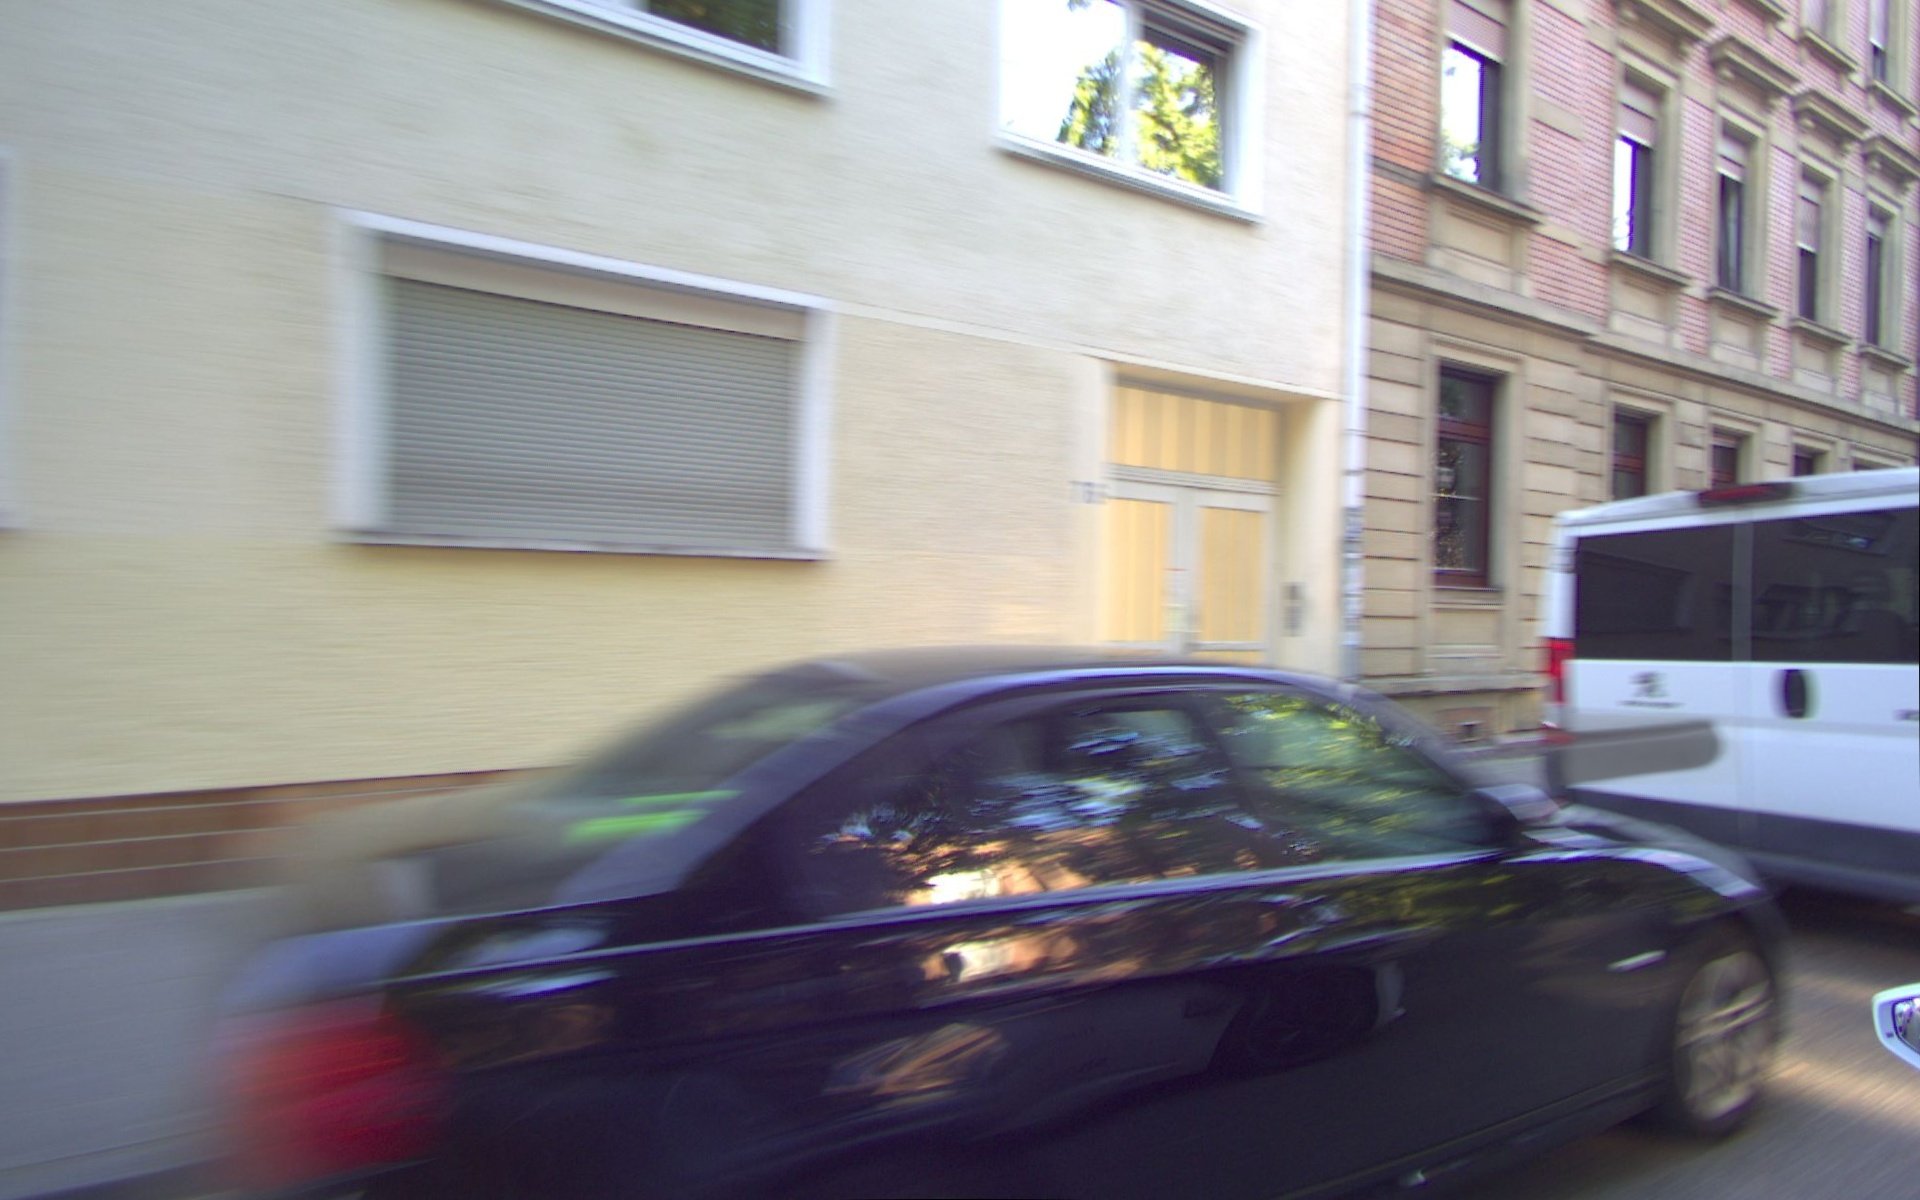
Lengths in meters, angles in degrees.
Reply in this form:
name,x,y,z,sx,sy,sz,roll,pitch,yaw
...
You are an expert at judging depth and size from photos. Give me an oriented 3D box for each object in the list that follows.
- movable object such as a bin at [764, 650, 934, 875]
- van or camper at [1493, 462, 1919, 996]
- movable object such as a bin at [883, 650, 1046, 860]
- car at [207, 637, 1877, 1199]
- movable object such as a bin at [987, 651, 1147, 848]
name,x,y,z,sx,sy,sz,roll,pitch,yaw
movable object such as a bin,-0.639,0.856,5.624,0.666,1.102,0.833,2,-1,-26
van or camper,5.792,0.595,6.009,5.091,2.176,2.168,1,-2,-29
movable object such as a bin,0.009,0.870,5.950,0.657,1.102,0.798,2,-1,-26
car,0.621,0.819,2.912,4.262,1.420,1.724,1,-2,-29
movable object such as a bin,0.658,0.899,6.326,0.657,1.102,0.798,2,-1,-26
